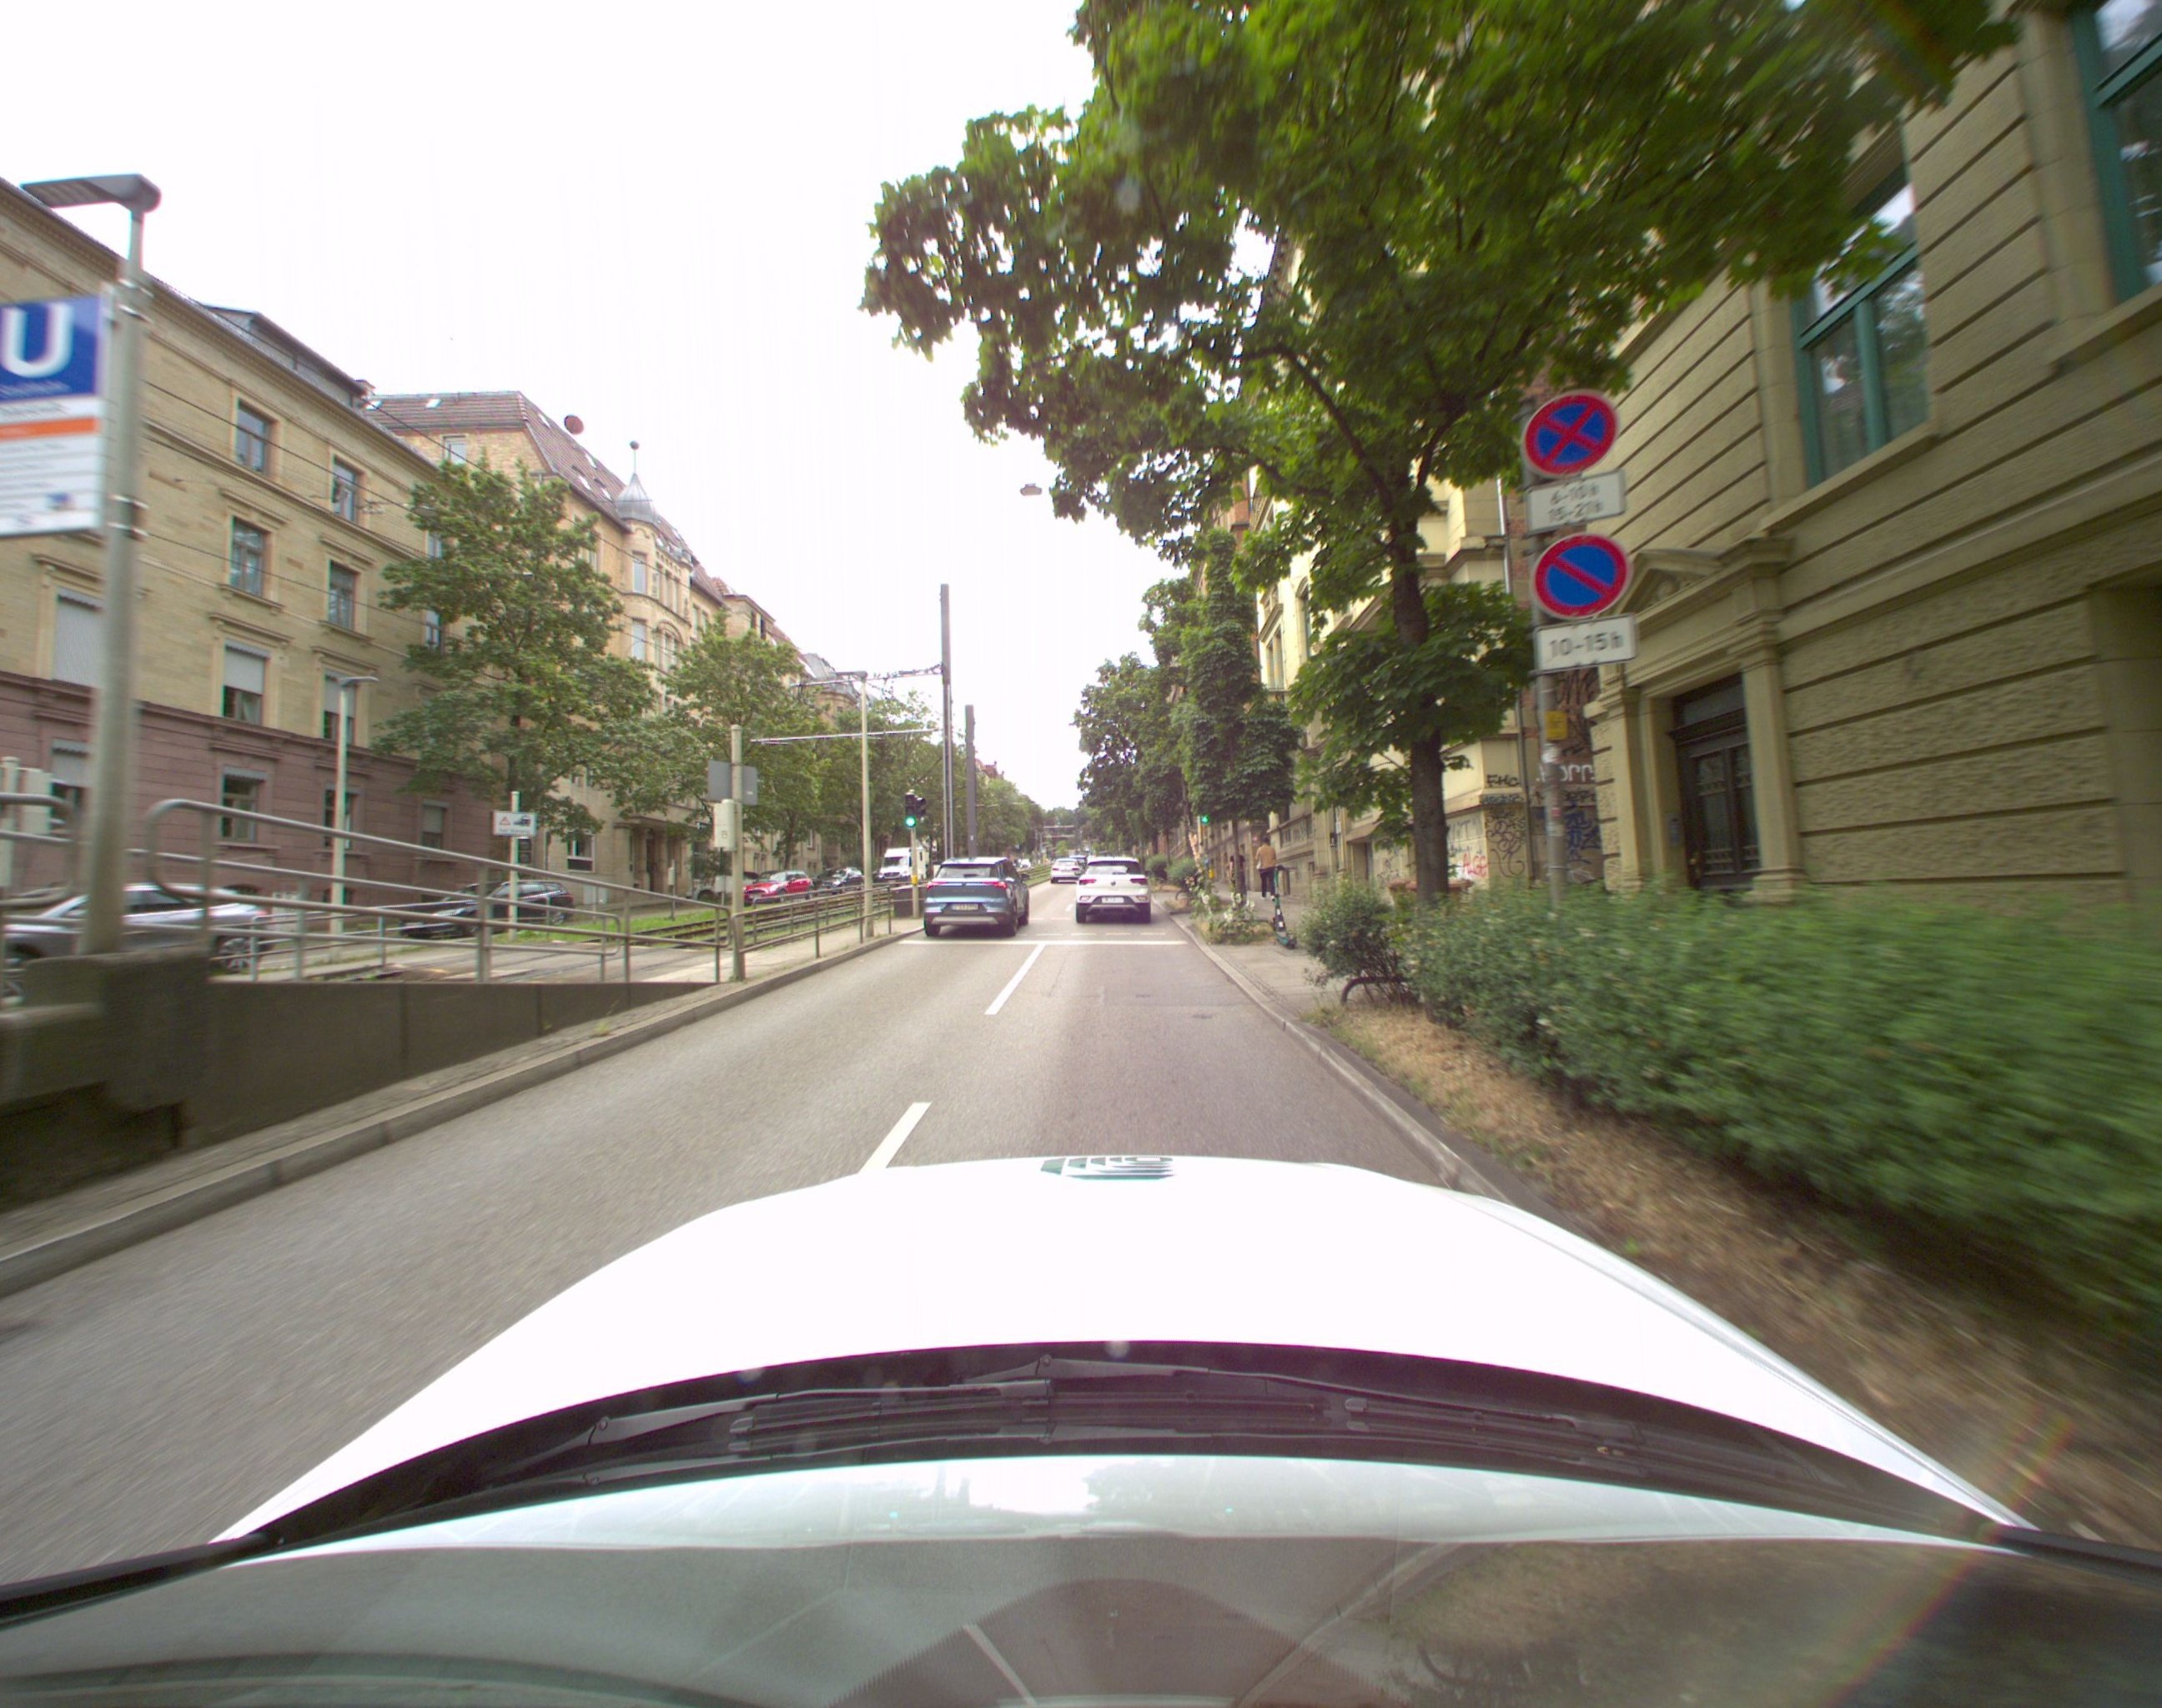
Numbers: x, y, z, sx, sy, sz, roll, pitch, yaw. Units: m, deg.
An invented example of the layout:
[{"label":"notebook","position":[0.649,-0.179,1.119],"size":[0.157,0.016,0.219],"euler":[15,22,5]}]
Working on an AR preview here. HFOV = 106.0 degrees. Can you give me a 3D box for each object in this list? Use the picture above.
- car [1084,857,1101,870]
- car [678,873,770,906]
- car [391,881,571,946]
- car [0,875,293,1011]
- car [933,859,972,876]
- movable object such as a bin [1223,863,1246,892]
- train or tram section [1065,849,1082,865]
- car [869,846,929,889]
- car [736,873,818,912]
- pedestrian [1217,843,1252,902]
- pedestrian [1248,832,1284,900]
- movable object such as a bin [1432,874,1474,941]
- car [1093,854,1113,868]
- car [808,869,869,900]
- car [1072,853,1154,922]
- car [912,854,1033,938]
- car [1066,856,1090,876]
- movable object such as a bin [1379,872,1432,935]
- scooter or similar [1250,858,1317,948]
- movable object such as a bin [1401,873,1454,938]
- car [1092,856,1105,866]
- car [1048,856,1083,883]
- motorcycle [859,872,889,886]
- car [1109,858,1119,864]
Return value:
[{"label":"car","position":[1.400,1.220,103.199],"size":[2.062,1.546,4.191],"euler":[-1,-1,-1]},{"label":"car","position":[-17.639,1.715,40.249],"size":[4.012,1.422,1.769],"euler":[-2,-1,-30]},{"label":"car","position":[-16.479,1.576,22.659],"size":[1.671,1.447,4.221],"euler":[-3,-1,3]},{"label":"car","position":[-15.255,1.280,12.483],"size":[1.702,1.735,4.579],"euler":[-2,0,2]},{"label":"car","position":[-15.259,1.614,96.661],"size":[4.199,1.836,1.856],"euler":[-2,-1,-25]},{"label":"movable object such as a bin","position":[5.687,0.862,30.213],"size":[0.669,1.016,0.582],"euler":[-4,1,-1]},{"label":"train or tram section","position":[-1.585,0.721,188.449],"size":[2.983,3.349,13.448],"euler":[-2,-1,3]},{"label":"car","position":[-12.702,0.954,57.367],"size":[2.383,2.699,6.521],"euler":[-4,-1,2]},{"label":"car","position":[-12.367,1.531,33.325],"size":[1.568,1.377,3.662],"euler":[-2,0,7]},{"label":"pedestrian","position":[4.307,0.514,22.902],"size":[0.683,1.574,1.217],"euler":[-4,-1,2]},{"label":"pedestrian","position":[5.214,0.336,23.043],"size":[0.683,1.829,1.122],"euler":[-4,-1,2]},{"label":"movable object such as a bin","position":[5.327,0.759,11.677],"size":[0.496,0.919,0.446],"euler":[-3,0,21]},{"label":"car","position":[2.334,0.773,88.257],"size":[2.062,1.546,4.192],"euler":[-1,-1,-1]},{"label":"car","position":[-13.176,1.620,44.542],"size":[1.742,1.428,4.749],"euler":[-3,0,1]},{"label":"car","position":[0.770,0.785,20.549],"size":[1.829,1.546,4.194],"euler":[-1,-1,1]},{"label":"car","position":[-2.158,0.812,17.341],"size":[1.828,1.546,4.195],"euler":[-1,-1,2]},{"label":"car","position":[-0.207,0.976,67.067],"size":[1.828,1.546,4.195],"euler":[-1,-1,2]},{"label":"movable object such as a bin","position":[5.143,0.777,12.927],"size":[0.609,0.919,0.494],"euler":[-4,-1,4]},{"label":"scooter or similar","position":[3.170,0.747,12.886],"size":[0.659,1.304,1.384],"euler":[-4,-1,2]},{"label":"movable object such as a bin","position":[5.247,0.774,12.334],"size":[0.504,0.919,0.487],"euler":[-3,-1,-40]},{"label":"car","position":[2.735,1.084,130.536],"size":[2.061,1.546,4.193],"euler":[-1,-1,1]},{"label":"car","position":[-0.911,0.932,49.210],"size":[1.828,1.546,4.195],"euler":[-1,-1,2]},{"label":"motorcycle","position":[-16.023,1.921,63.055],"size":[2.214,1.058,0.619],"euler":[0,-2,-33]},{"label":"car","position":[7.861,1.665,195.687],"size":[2.063,1.546,4.190],"euler":[-1,-1,-2]}]
